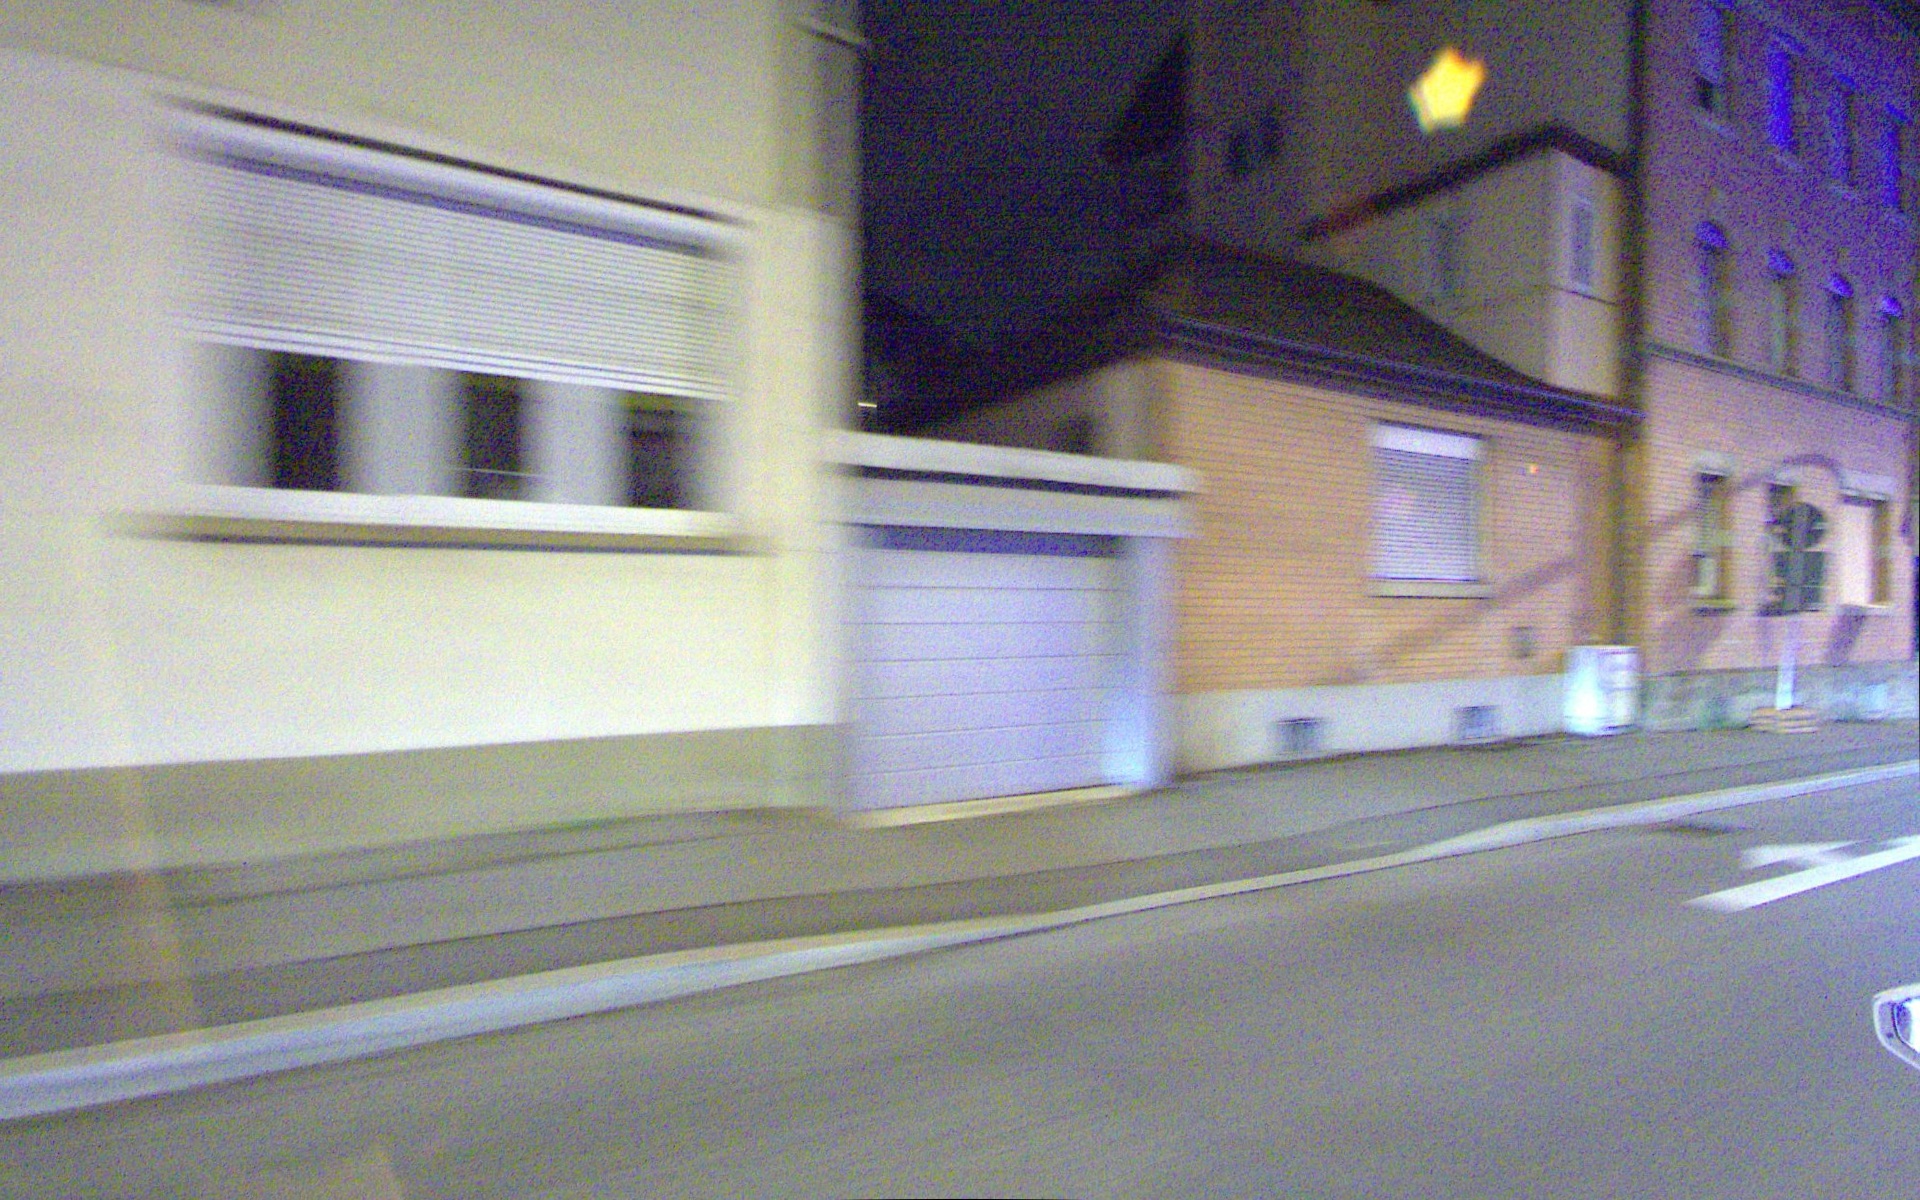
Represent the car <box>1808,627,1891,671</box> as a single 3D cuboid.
[{"bbox_3d":[38.765,2.106,43.869,1.965,1.798,3.992,1,-1,31],"label":"car"}]
